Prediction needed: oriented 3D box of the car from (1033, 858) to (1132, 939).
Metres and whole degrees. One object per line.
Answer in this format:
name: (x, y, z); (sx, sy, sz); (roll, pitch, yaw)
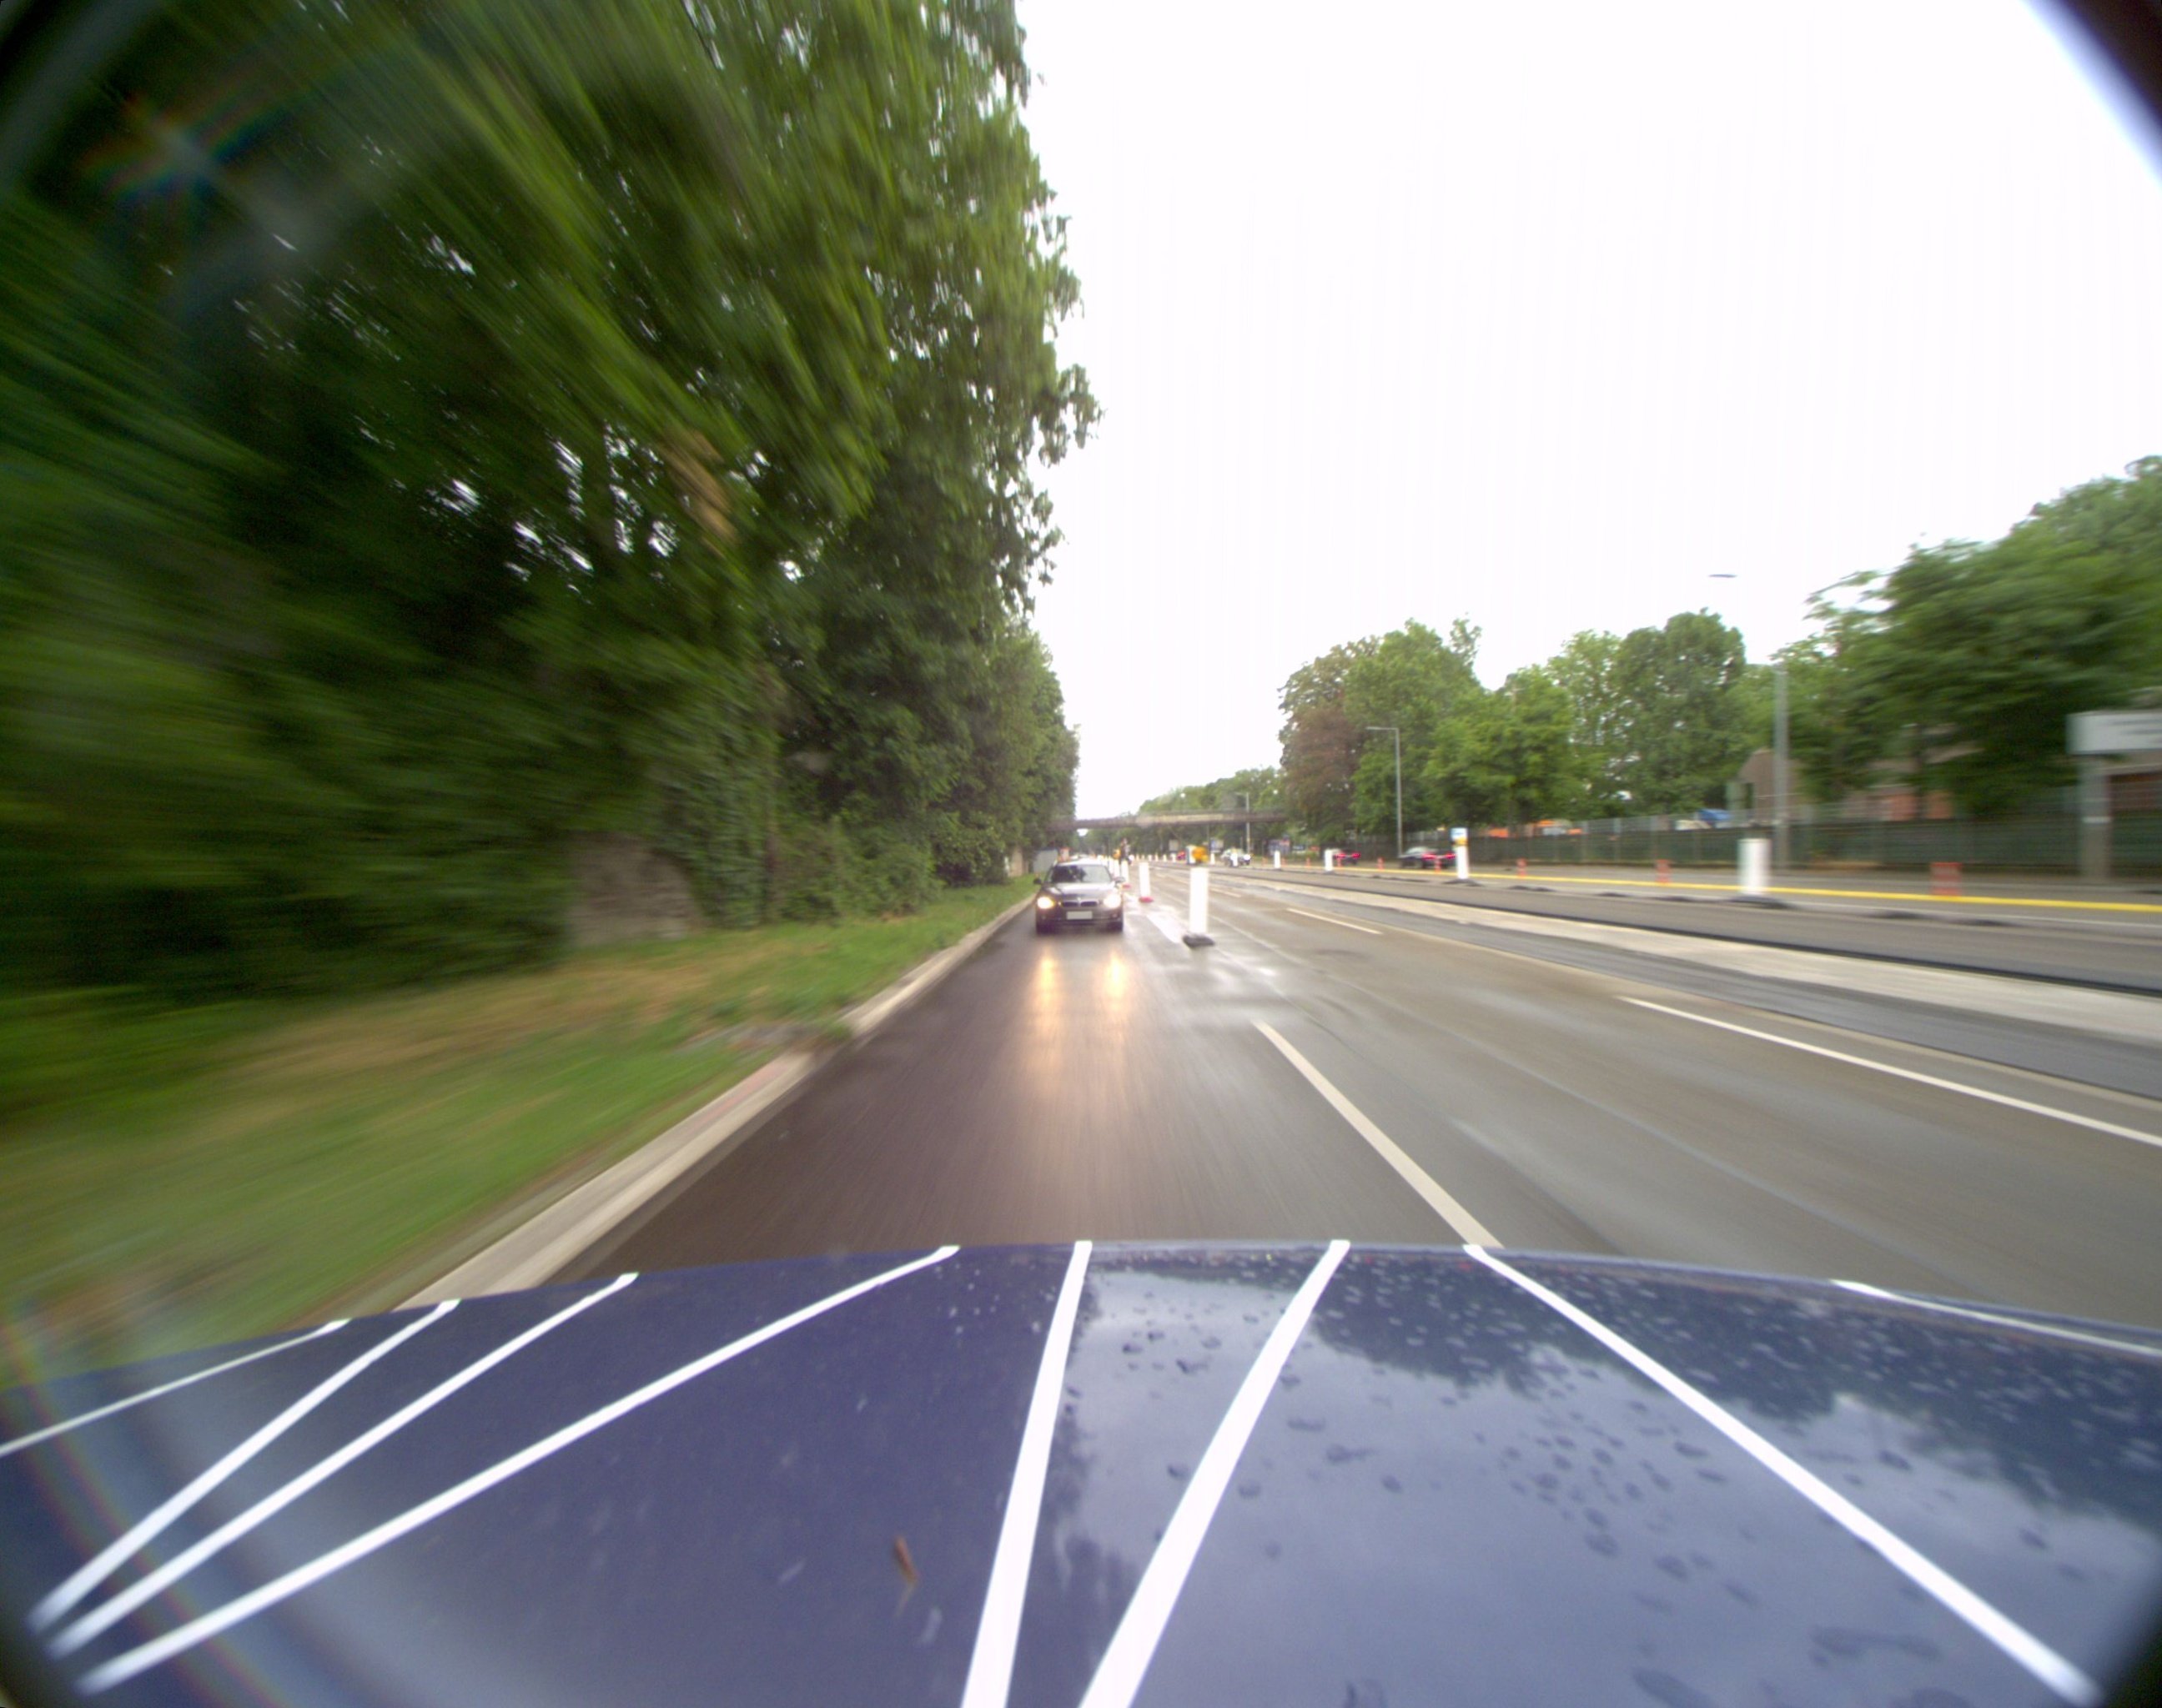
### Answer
car: (-0.005, 0.858, 16.545); (1.838, 1.398, 3.999); (-3, 1, -1)

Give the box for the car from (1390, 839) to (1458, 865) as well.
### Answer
car: (21.302, -0.167, 47.414); (2.051, 1.446, 4.764); (-2, 1, 1)

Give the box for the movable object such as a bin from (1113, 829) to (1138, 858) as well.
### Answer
movable object such as a bin: (7.394, -1.840, 126.913); (3.526, 4.496, 10.068); (-2, 1, 1)

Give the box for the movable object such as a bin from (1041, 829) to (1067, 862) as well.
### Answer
movable object such as a bin: (-3.315, -1.077, 95.011); (2.890, 3.917, 6.104); (-3, 1, -1)

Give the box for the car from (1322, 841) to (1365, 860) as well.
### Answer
car: (21.703, -0.267, 63.009); (1.999, 1.421, 4.264); (-2, 0, 0)

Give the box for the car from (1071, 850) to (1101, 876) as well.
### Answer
car: (0.378, 0.593, 54.040); (1.998, 1.650, 4.229); (-2, 1, 1)
